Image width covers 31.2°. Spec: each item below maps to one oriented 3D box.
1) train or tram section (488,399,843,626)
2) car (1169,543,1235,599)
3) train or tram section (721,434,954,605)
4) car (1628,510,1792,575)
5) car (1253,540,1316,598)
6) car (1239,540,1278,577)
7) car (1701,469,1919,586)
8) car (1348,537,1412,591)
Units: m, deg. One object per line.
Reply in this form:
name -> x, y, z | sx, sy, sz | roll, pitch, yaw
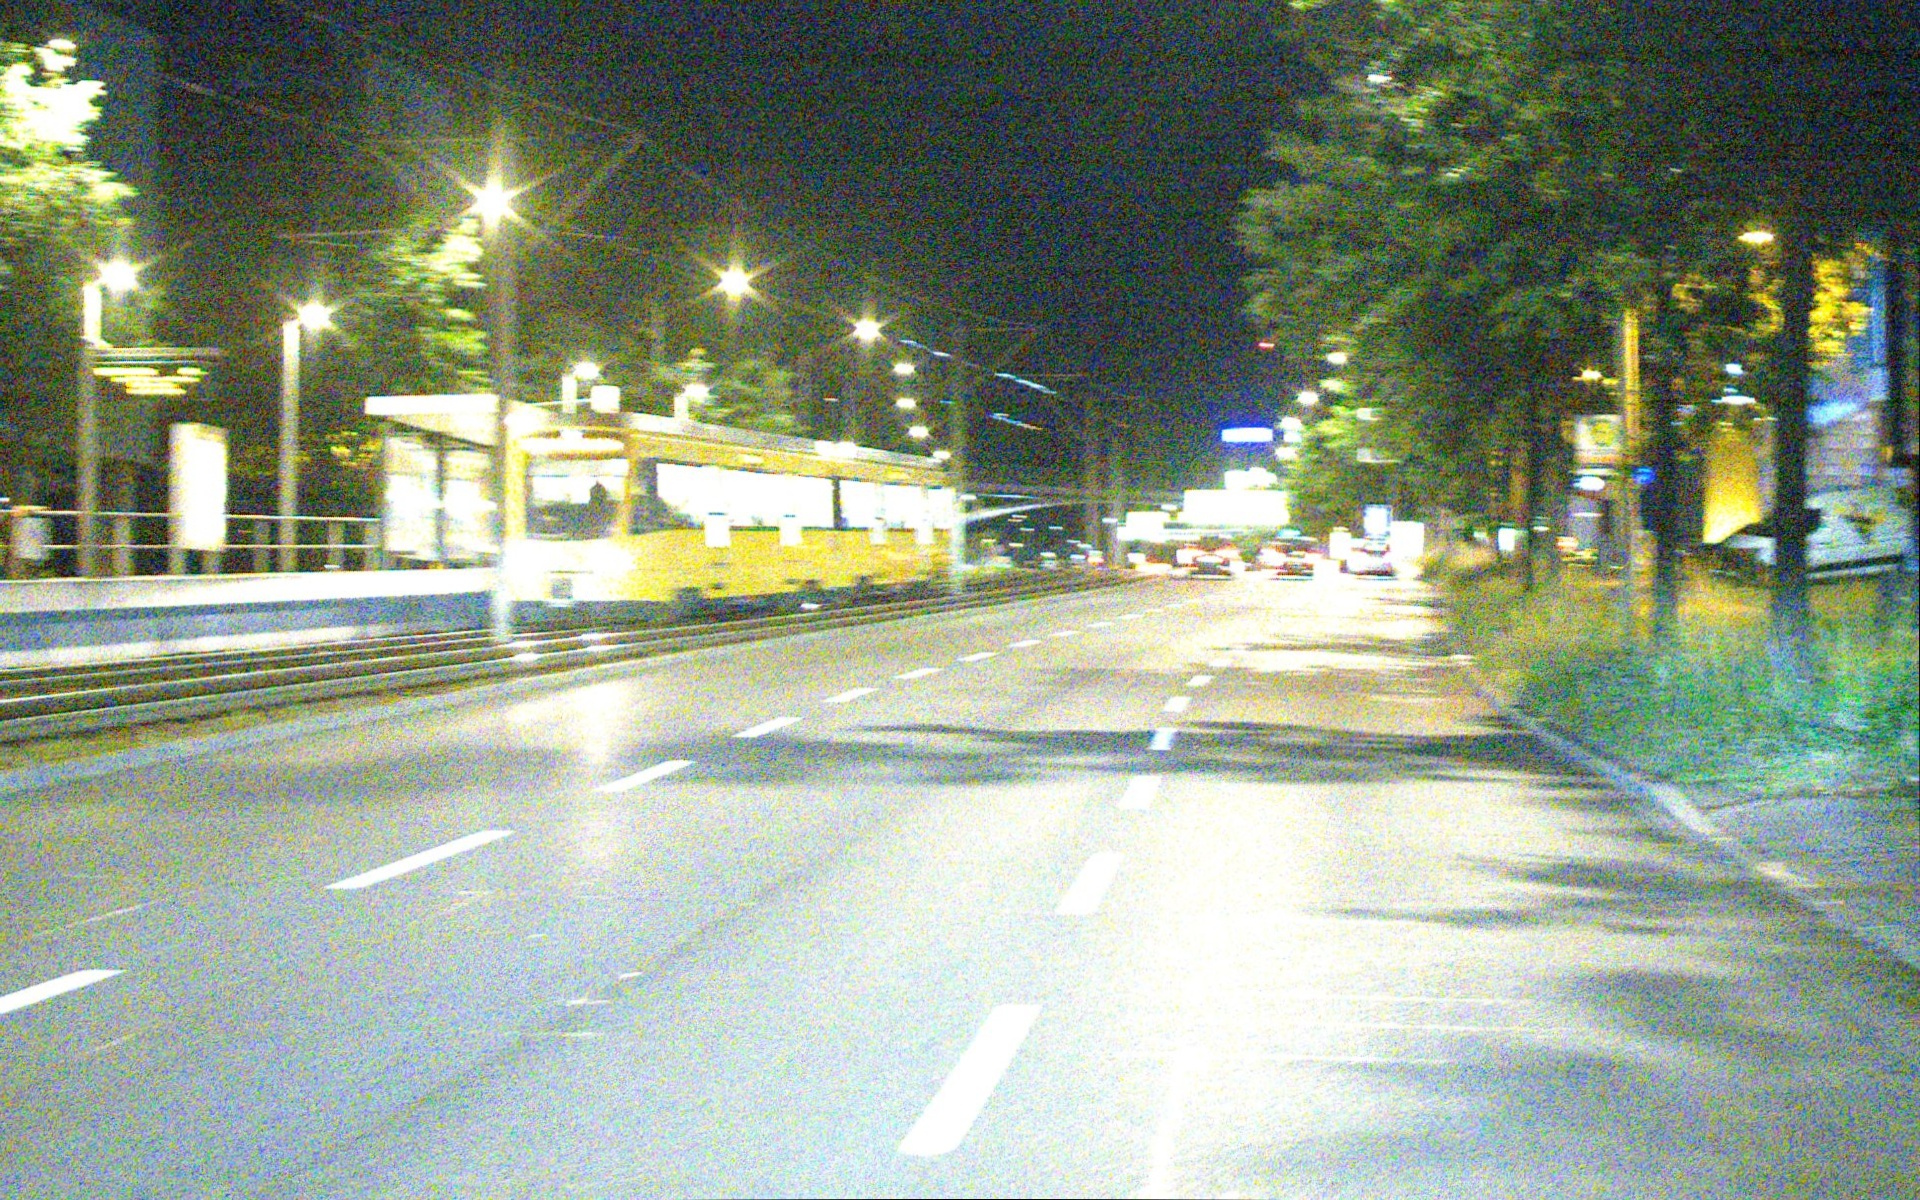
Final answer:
train or tram section -> -5.352, -1.648, 68.072 | 2.739, 3.833, 19.358 | 1, 1, 8
car -> 8.951, -1.073, 126.939 | 2.263, 2.007, 4.825 | 1, 1, 6
train or tram section -> -2.788, -1.977, 86.934 | 2.759, 3.814, 18.665 | 1, 1, 8
car -> 23.071, -1.770, 105.851 | 4.460, 1.681, 2.000 | -4, 1, -4
car -> 12.499, -1.192, 132.213 | 2.356, 2.122, 4.825 | 1, 1, 6
car -> 15.002, -2.079, 172.667 | 1.887, 1.853, 3.999 | 1, 1, 6
car -> 22.344, -1.876, 88.049 | 6.015, 2.520, 2.284 | -5, 2, -10
car -> 16.896, -1.436, 138.523 | 2.428, 2.106, 4.825 | 1, 1, 6
